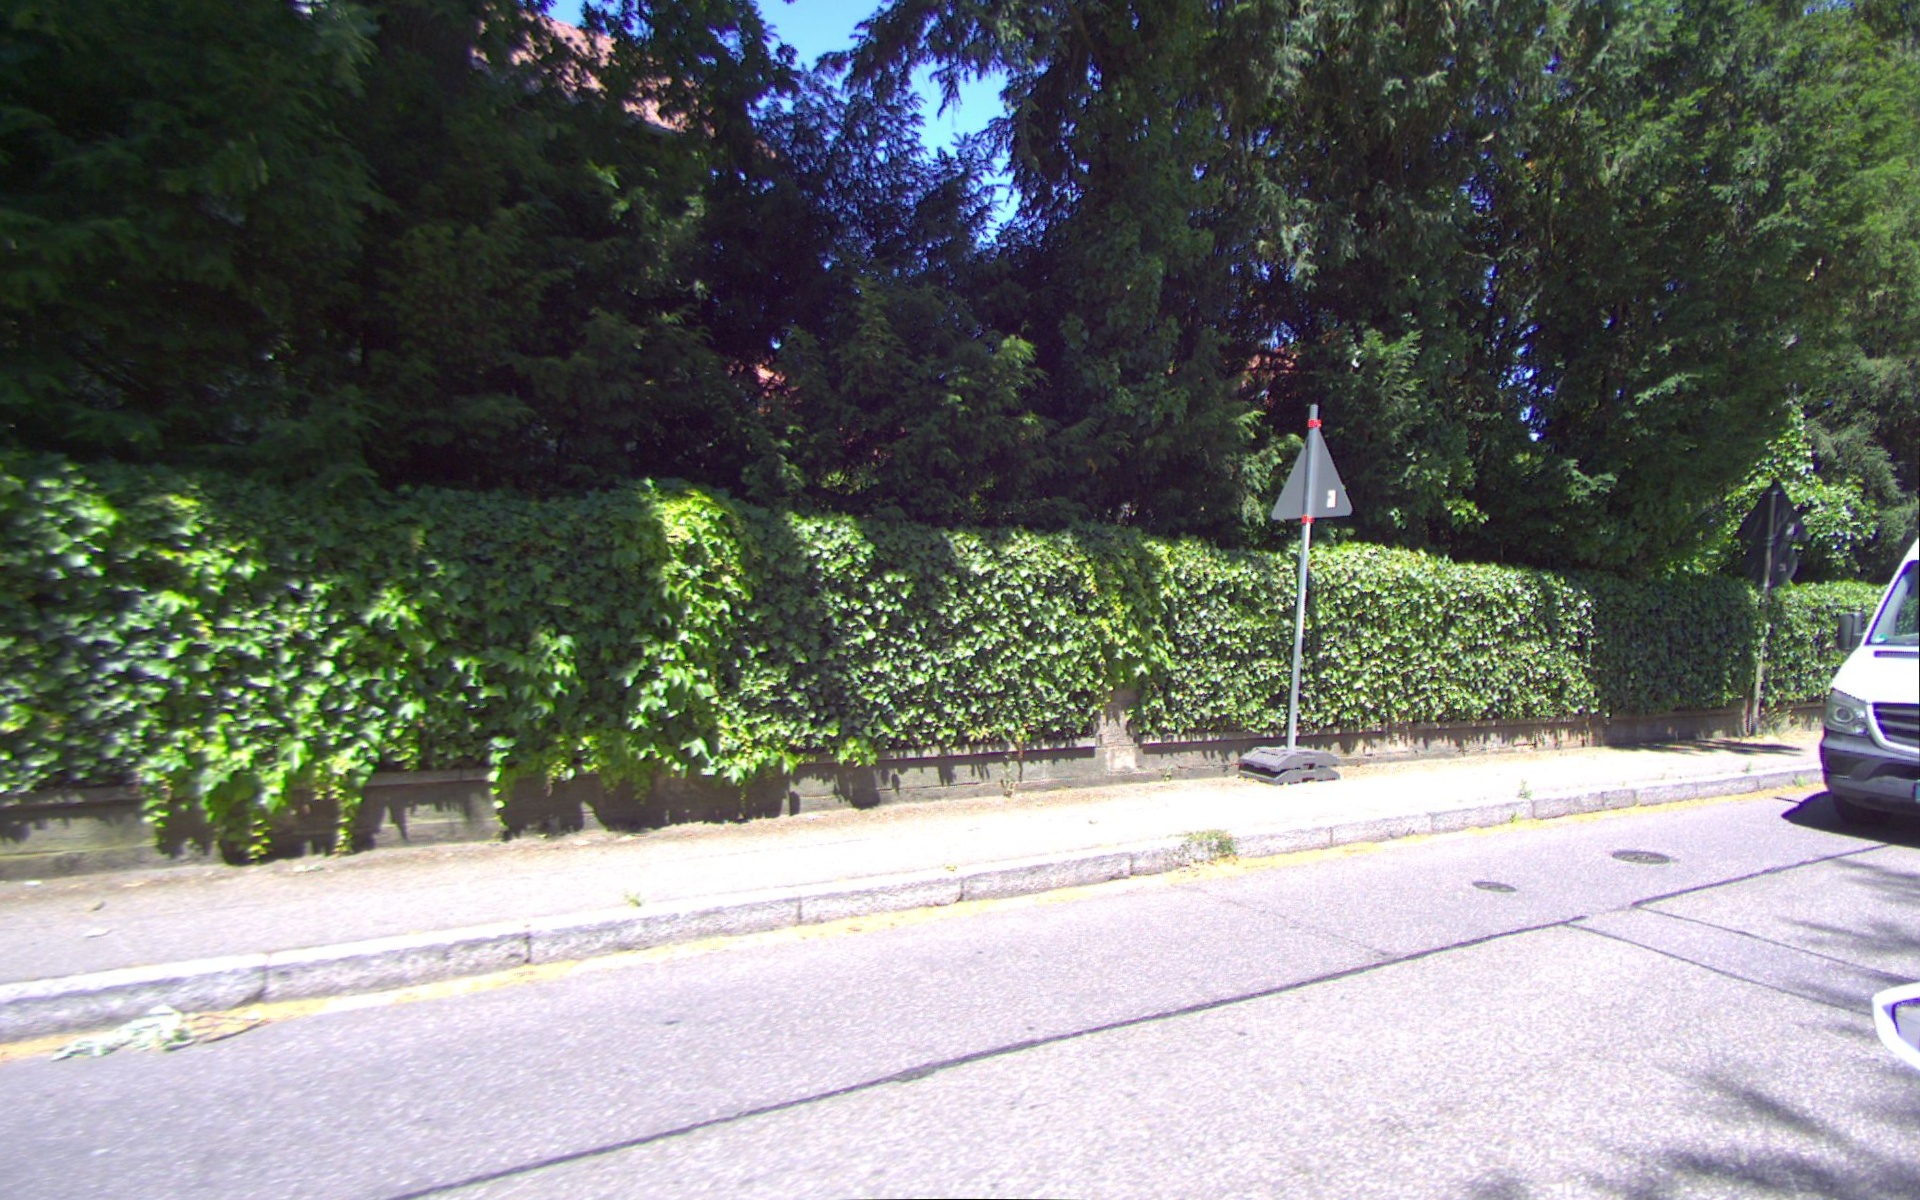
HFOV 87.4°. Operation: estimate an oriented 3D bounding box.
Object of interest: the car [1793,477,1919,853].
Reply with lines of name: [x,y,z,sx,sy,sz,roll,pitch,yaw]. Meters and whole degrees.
car: [9.226,0.502,8.083,5.824,2.566,1.984,1,-1,-30]
